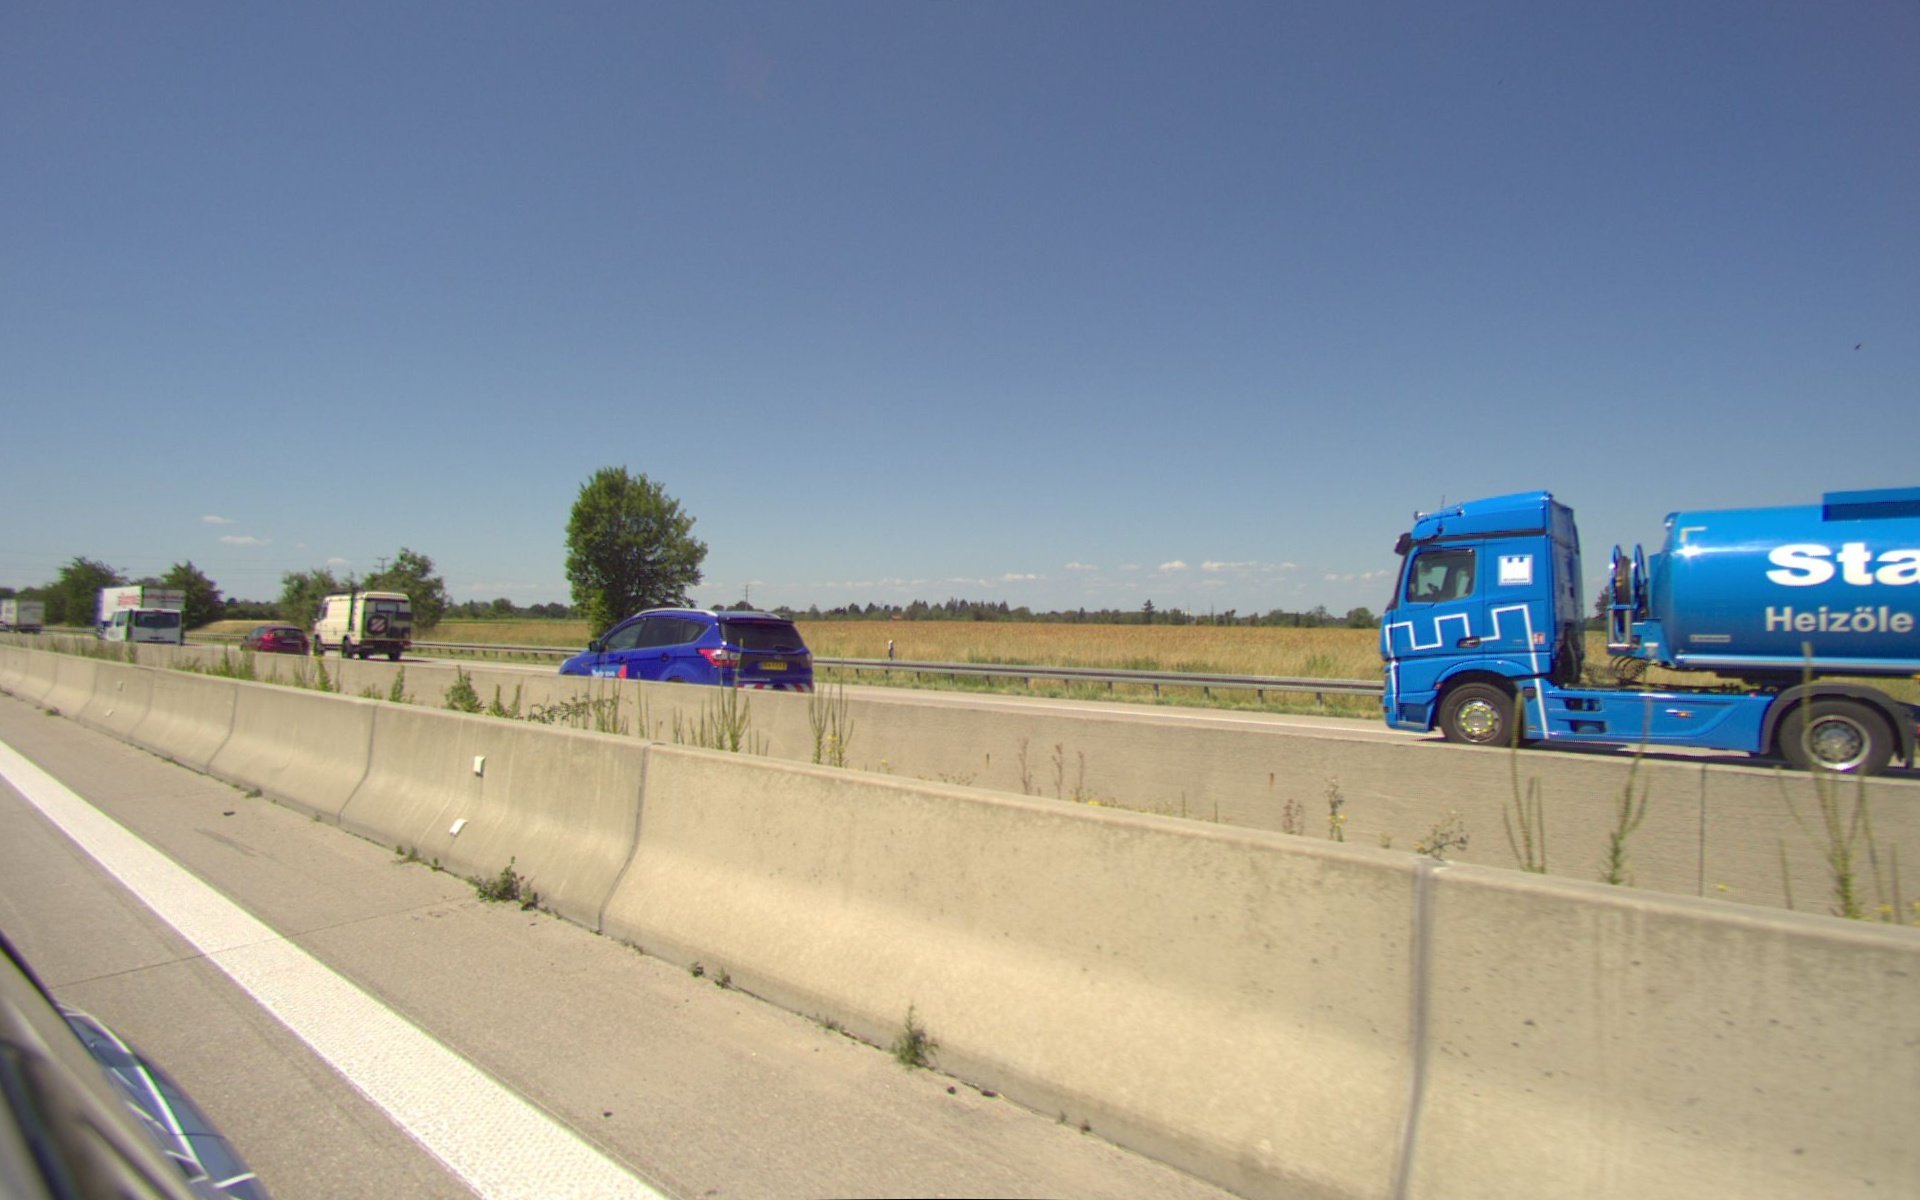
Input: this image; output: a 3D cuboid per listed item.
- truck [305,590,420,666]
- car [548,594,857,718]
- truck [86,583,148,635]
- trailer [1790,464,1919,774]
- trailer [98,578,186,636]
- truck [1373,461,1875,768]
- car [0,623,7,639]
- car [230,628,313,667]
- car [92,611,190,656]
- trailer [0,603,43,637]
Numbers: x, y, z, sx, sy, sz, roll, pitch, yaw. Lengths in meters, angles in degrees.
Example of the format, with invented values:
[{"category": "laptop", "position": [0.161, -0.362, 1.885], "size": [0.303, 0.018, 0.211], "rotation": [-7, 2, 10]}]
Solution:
[{"category": "truck", "position": [-26.679, 1.211, 45.054], "size": [6.974, 3.107, 2.298], "rotation": [-1, 0, 41]}, {"category": "car", "position": [-3.596, 0.678, 13.664], "size": [4.449, 1.358, 1.761], "rotation": [-1, 1, 40]}, {"category": "truck", "position": [-65.739, 0.678, 78.890], "size": [5.682, 3.893, 2.867], "rotation": [-1, 0, 41]}, {"category": "trailer", "position": [13.700, 0.124, 9.349], "size": [9.247, 3.297, 2.489], "rotation": [-1, 0, 41]}, {"category": "trailer", "position": [-59.769, 0.586, 73.767], "size": [12.504, 3.938, 2.878], "rotation": [-1, 0, 41]}, {"category": "truck", "position": [8.703, 0.186, 13.659], "size": [5.260, 3.334, 2.458], "rotation": [-1, 0, 41]}, {"category": "car", "position": [-101.906, 3.194, 106.302], "size": [4.367, 1.596, 1.973], "rotation": [-2, -8, 41]}, {"category": "car", "position": [-27.614, 1.848, 40.530], "size": [4.485, 1.471, 1.670], "rotation": [-1, -2, 41]}, {"category": "car", "position": [-32.816, 1.311, 40.488], "size": [5.642, 1.692, 2.116], "rotation": [-1, -2, 41]}, {"category": "trailer", "position": [-112.912, 2.366, 121.368], "size": [13.821, 3.831, 2.741], "rotation": [-1, 0, 41]}]
